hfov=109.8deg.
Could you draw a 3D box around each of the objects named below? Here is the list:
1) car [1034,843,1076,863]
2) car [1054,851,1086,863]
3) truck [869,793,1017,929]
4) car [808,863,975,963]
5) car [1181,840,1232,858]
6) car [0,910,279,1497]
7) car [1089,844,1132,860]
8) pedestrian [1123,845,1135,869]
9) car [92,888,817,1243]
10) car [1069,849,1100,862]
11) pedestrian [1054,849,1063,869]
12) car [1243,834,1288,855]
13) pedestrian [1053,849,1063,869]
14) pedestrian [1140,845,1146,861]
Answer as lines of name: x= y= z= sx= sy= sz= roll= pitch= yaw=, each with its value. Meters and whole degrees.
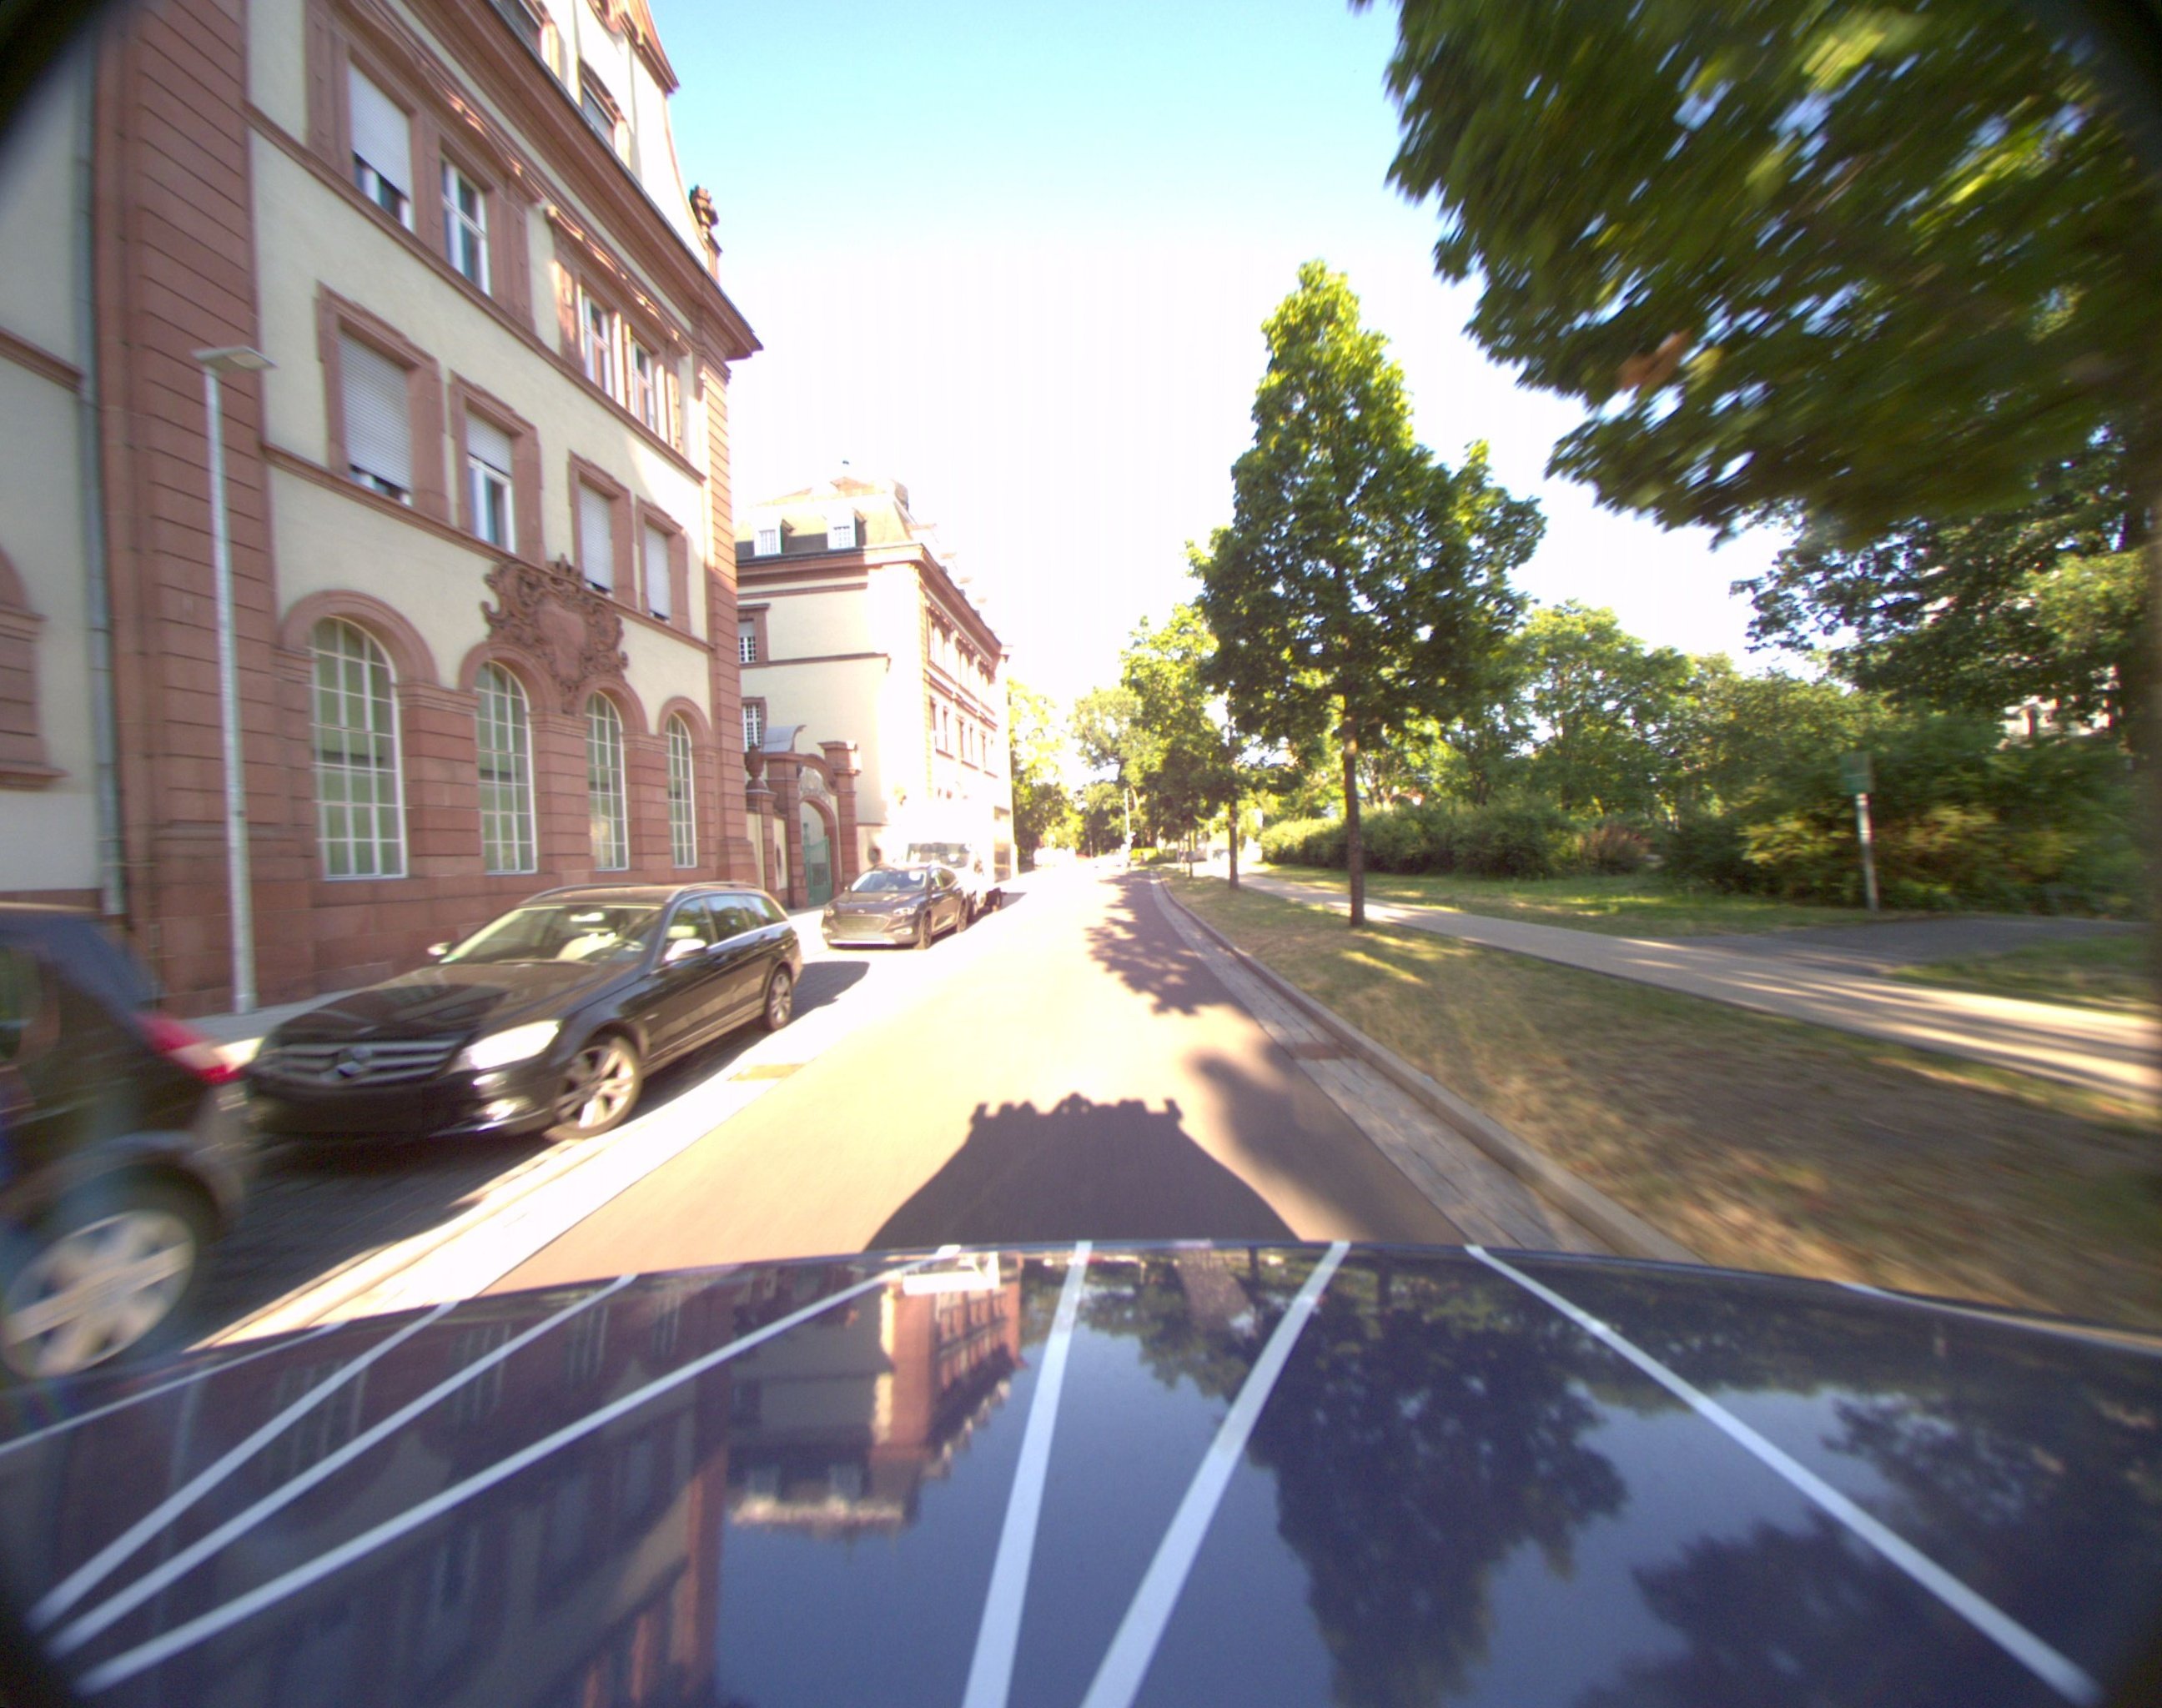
car: x=-4.046 y=-0.221 z=116.363 sx=5.912 sy=2.685 sz=2.218 roll=-4 pitch=1 yaw=-15
car: x=-1.502 y=0.455 z=104.715 sx=4.061 sy=1.412 sz=1.716 roll=-4 pitch=1 yaw=-15
truck: x=-3.469 y=0.136 z=20.728 sx=2.630 sy=3.103 sz=6.087 roll=-1 pitch=1 yaw=2
car: x=-3.454 y=1.014 z=14.867 sx=1.772 sy=1.522 sz=4.573 roll=-1 pitch=1 yaw=4
car: x=13.160 y=-0.555 z=79.511 sx=4.839 sy=1.549 sz=1.866 roll=-4 pitch=0 yaw=-13
car: x=-3.949 y=1.051 z=0.762 sx=1.820 sy=1.593 sz=4.191 roll=-2 pitch=1 yaw=-1
car: x=3.216 y=-0.206 z=82.669 sx=4.347 sy=1.526 sz=1.781 roll=-3 pitch=-1 yaw=-12
pedestrian: x=3.483 y=0.247 z=55.277 sx=0.534 sy=1.709 sz=1.002 roll=-3 pitch=0 yaw=-12
car: x=-3.808 y=1.126 z=5.938 sx=1.876 sy=1.428 sz=4.522 roll=-2 pitch=1 yaw=0
car: x=0.451 y=0.163 z=99.414 sx=3.681 sy=1.412 sz=1.716 roll=-4 pitch=1 yaw=-15
pedestrian: x=-2.119 y=0.496 z=71.197 sx=0.613 sy=1.829 sz=0.726 roll=-3 pitch=-1 yaw=-11
car: x=19.702 y=-1.015 z=81.251 sx=4.239 sy=1.905 sz=1.761 roll=-4 pitch=0 yaw=-13
pedestrian: x=-2.115 y=0.478 z=70.404 sx=0.717 sy=1.829 sz=0.789 roll=-3 pitch=-1 yaw=-11
pedestrian: x=7.000 y=-0.085 z=85.444 sx=0.435 sy=1.764 sz=0.666 roll=-4 pitch=1 yaw=-8
